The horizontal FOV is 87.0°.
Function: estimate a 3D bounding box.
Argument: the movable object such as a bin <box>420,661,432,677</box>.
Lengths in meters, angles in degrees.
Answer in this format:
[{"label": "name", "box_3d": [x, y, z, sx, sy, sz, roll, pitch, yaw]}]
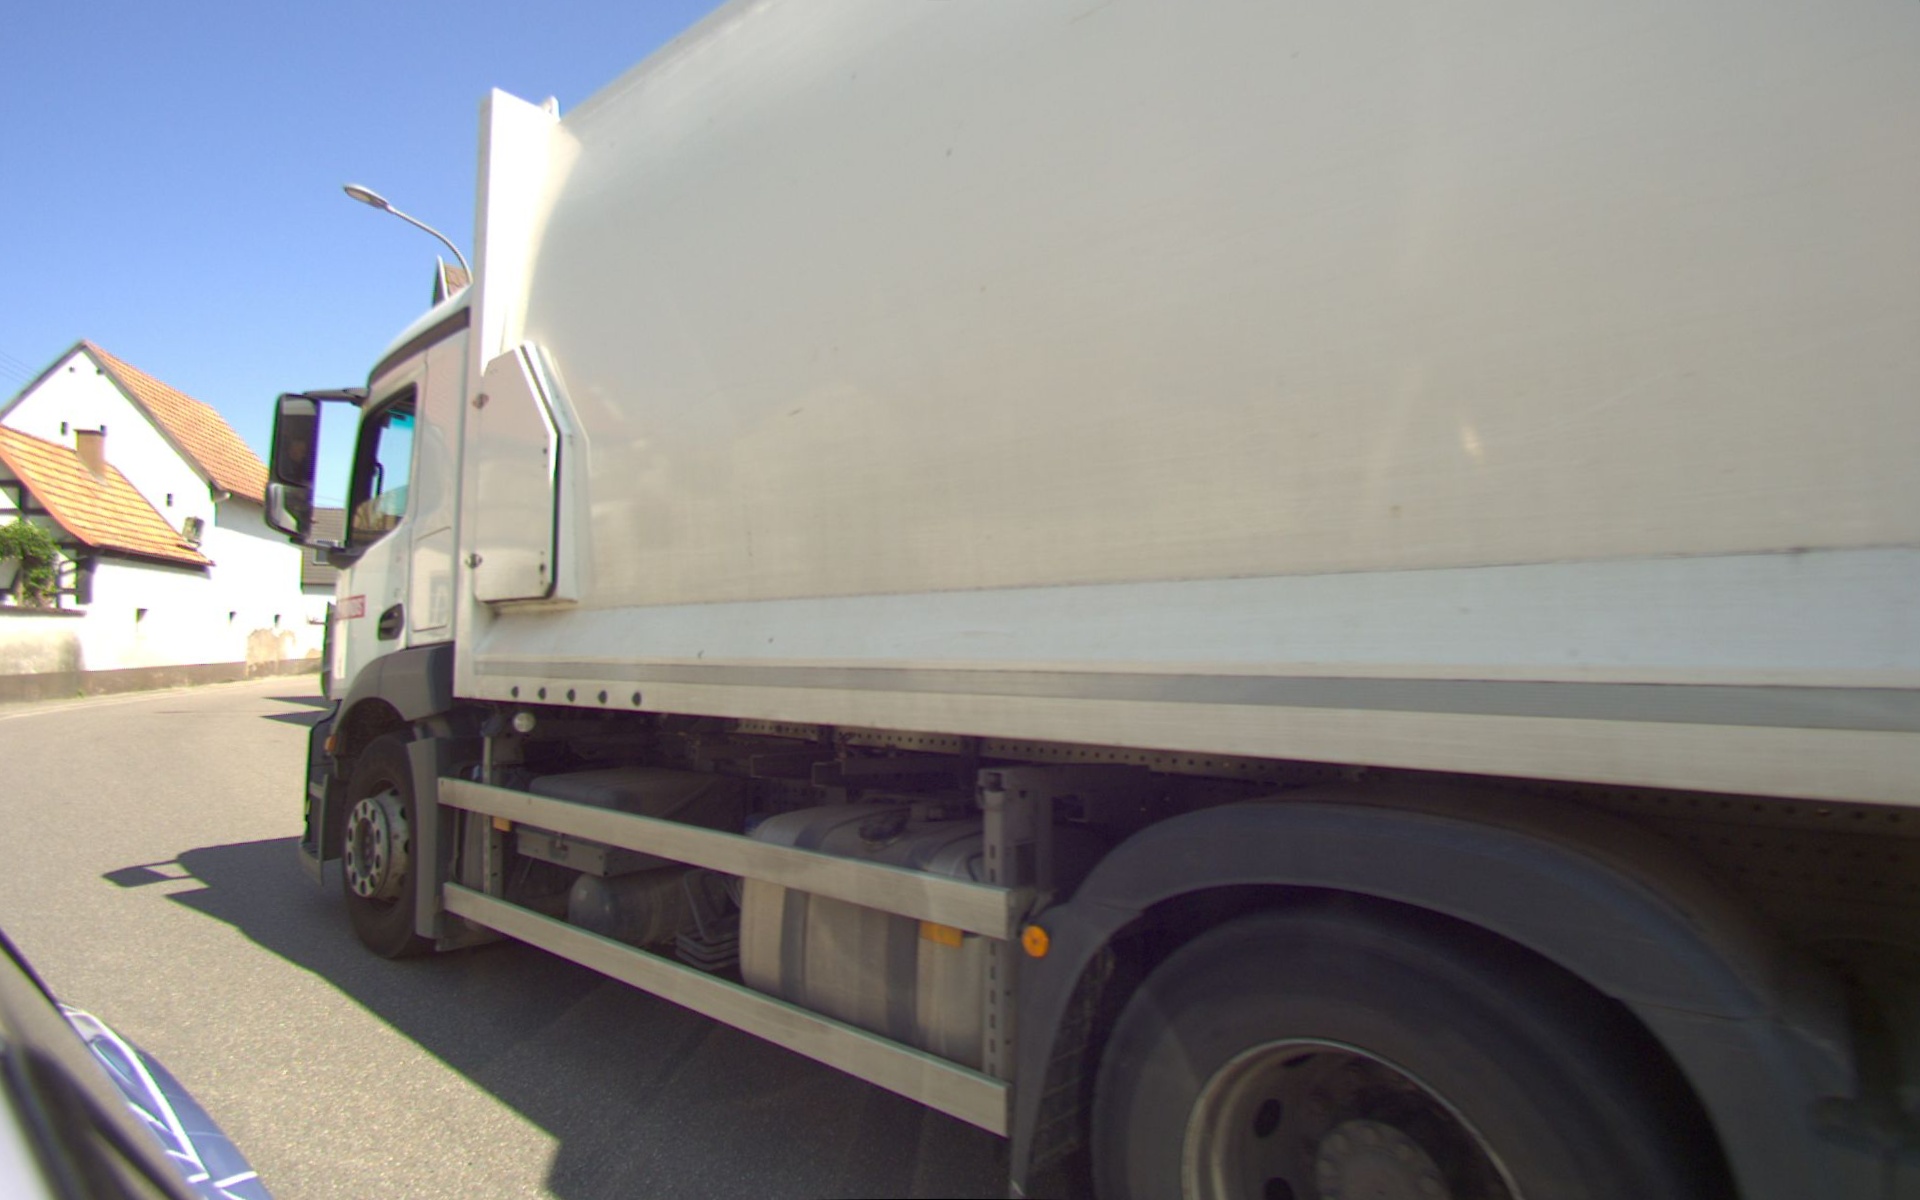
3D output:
[{"label": "movable object such as a bin", "box_3d": [-33.860, 4.382, 64.154, 0.543, 0.984, 0.433, 4, -5, -44]}]

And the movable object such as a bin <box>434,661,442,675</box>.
[{"label": "movable object such as a bin", "box_3d": [-38.072, 4.953, 73.820, 0.497, 0.984, 0.434, 1, -3, -19]}]

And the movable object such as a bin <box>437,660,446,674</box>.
[{"label": "movable object such as a bin", "box_3d": [-38.340, 4.949, 74.894, 0.497, 0.984, 0.496, 1, -3, -19]}]

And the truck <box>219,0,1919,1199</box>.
[{"label": "truck", "box_3d": [1.028, -0.372, 2.893, 10.865, 3.779, 2.667, -2, -6, 42]}]
